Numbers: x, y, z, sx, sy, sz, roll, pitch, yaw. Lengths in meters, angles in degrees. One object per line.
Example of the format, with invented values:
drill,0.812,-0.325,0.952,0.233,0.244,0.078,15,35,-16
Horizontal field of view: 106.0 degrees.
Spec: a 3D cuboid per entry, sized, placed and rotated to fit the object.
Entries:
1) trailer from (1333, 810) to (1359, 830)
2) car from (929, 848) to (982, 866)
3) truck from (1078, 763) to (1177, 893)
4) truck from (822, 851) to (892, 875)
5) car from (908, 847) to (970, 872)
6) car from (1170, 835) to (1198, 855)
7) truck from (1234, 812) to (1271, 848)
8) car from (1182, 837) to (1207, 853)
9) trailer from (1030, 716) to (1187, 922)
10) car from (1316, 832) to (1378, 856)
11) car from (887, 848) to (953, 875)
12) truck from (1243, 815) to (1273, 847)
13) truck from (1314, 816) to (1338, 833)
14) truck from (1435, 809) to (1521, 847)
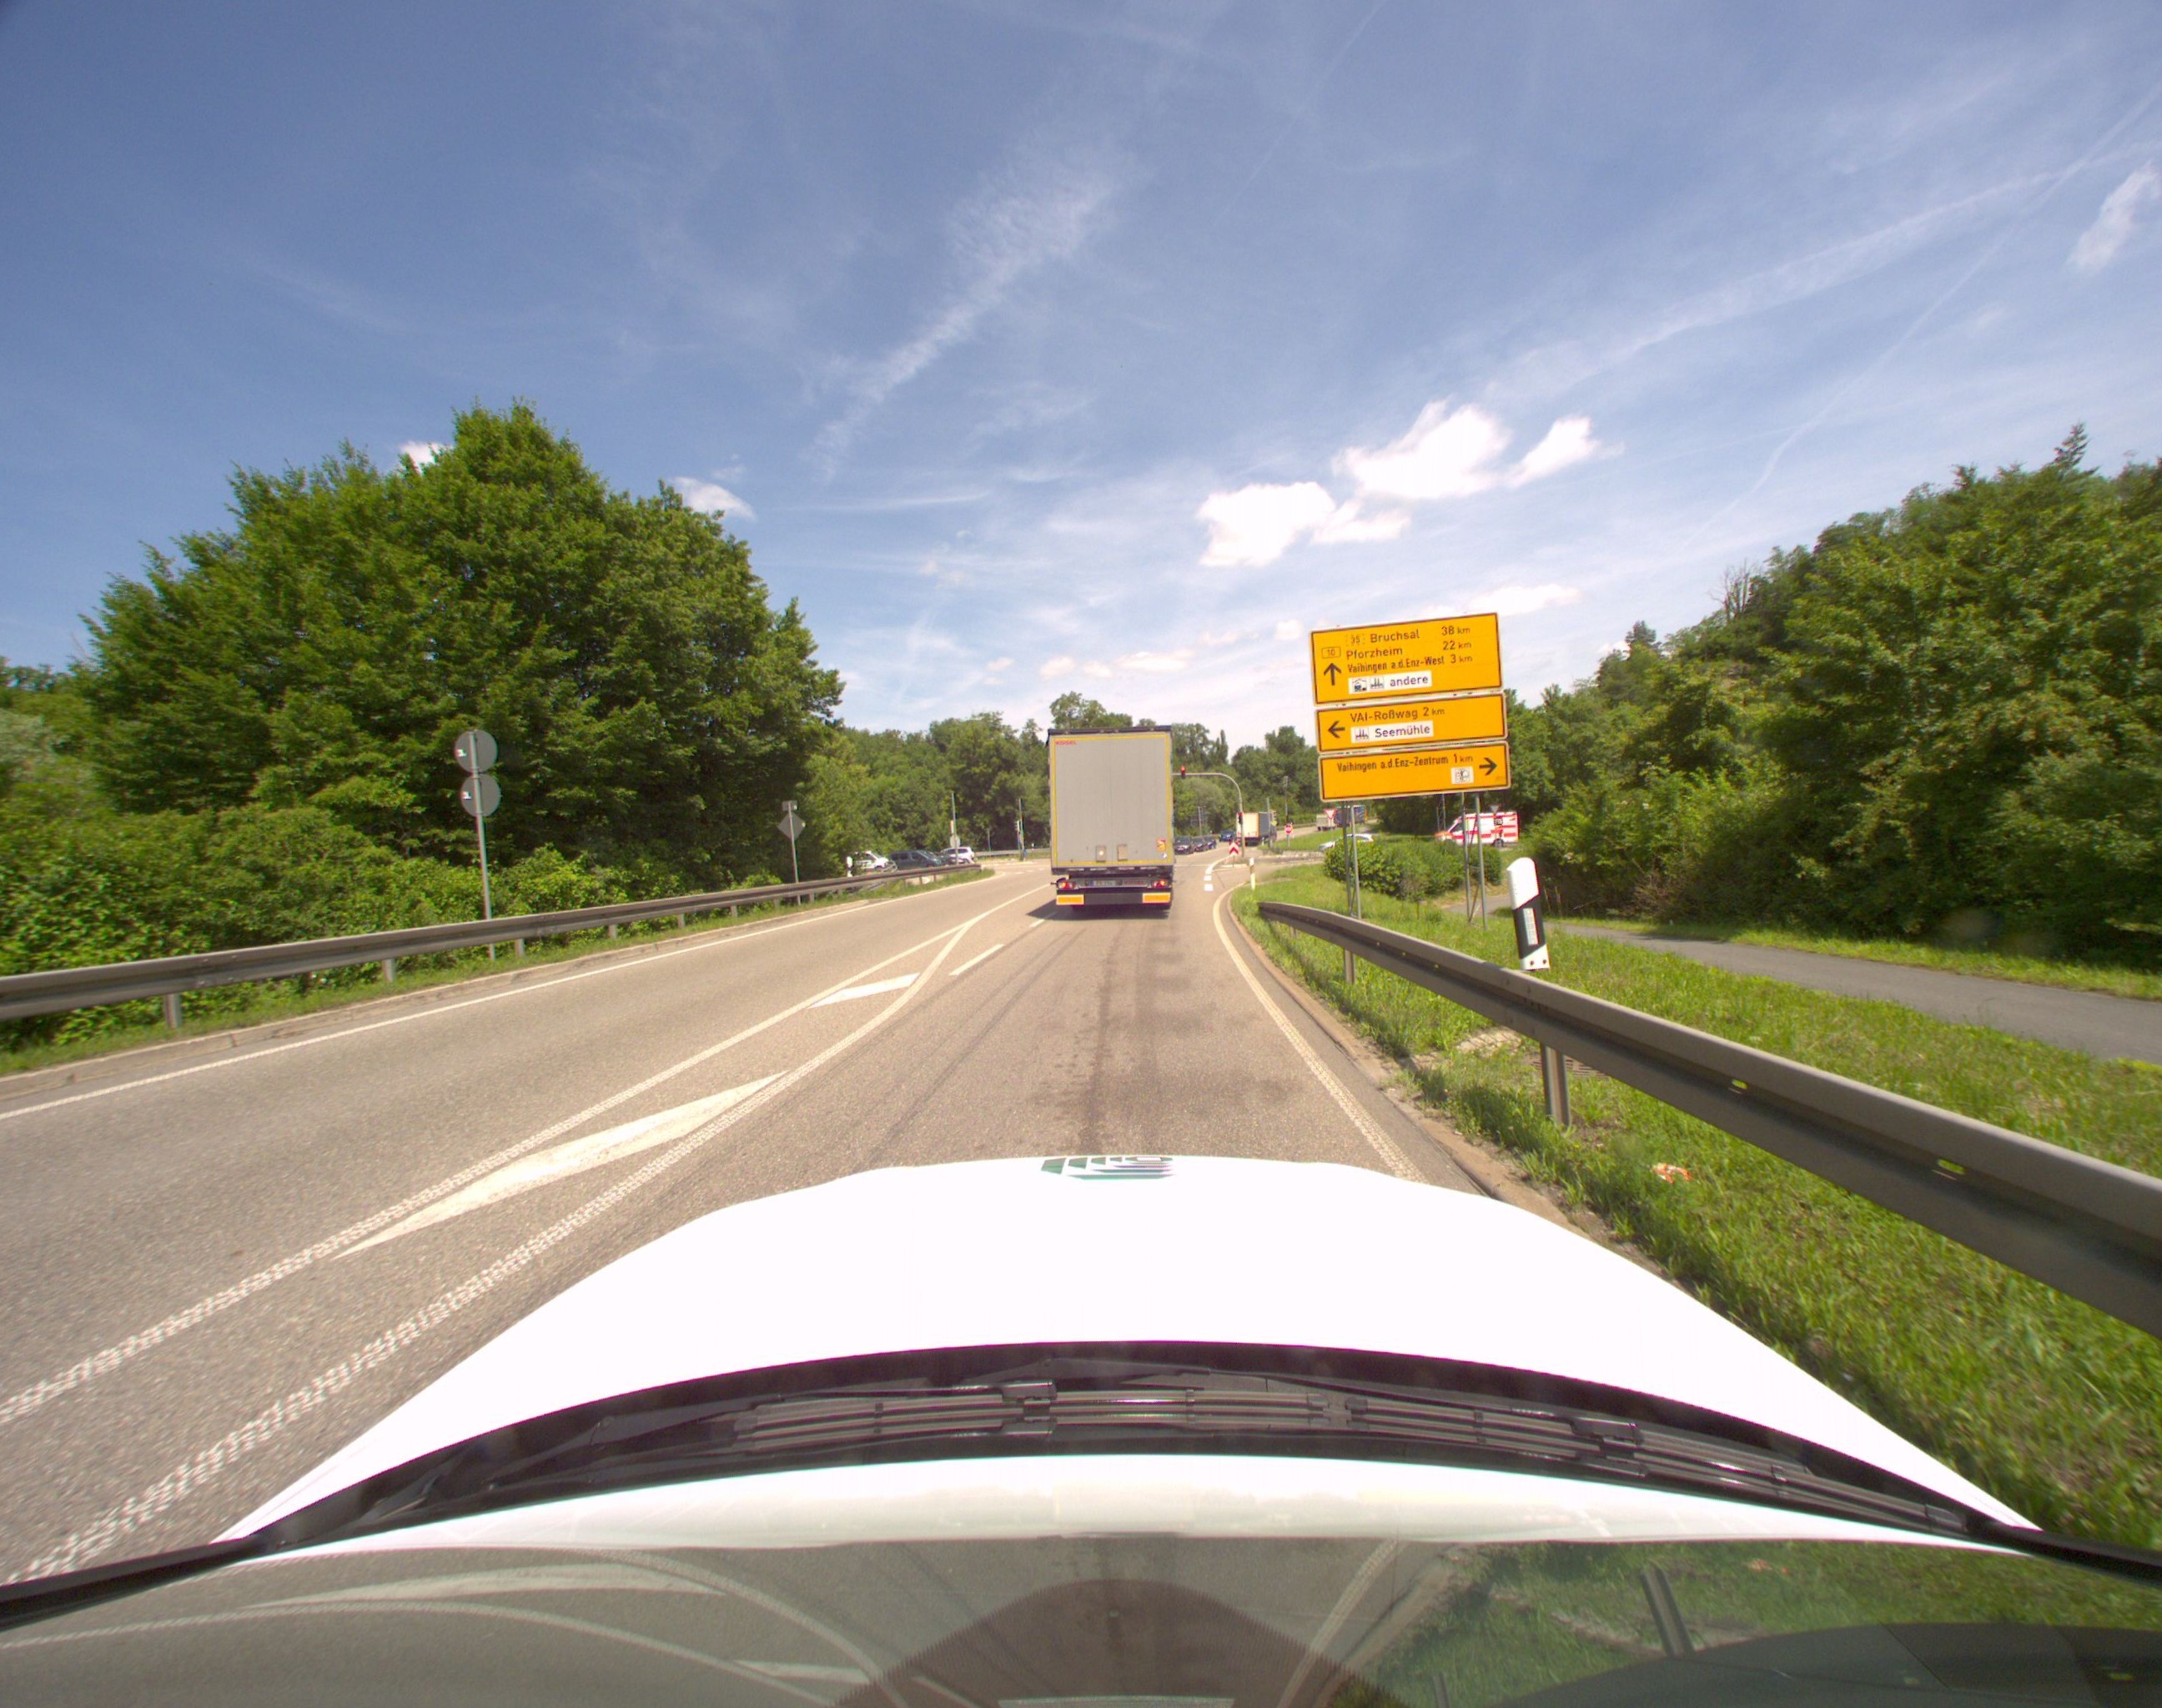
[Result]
trailer,52.980,-6.789,162.823,3.220,3.685,9.308,-1,1,29
car,-10.601,0.267,69.065,3.961,1.519,2.006,-1,-1,11
truck,1.798,-0.873,29.210,3.023,4.033,6.640,-2,1,5
truck,-17.253,0.718,62.823,4.868,1.791,2.039,0,-1,-6
car,-10.979,0.414,63.059,4.201,1.770,2.009,-2,0,16
car,9.687,-0.808,76.388,1.979,1.785,4.961,-1,-1,14
truck,21.176,-2.868,100.035,3.153,4.028,11.801,-1,1,18
car,11.651,-0.902,83.230,1.979,1.491,4.275,-1,-1,15
trailer,1.139,-0.776,22.593,3.037,4.033,12.579,-2,1,5
car,20.557,-0.757,63.087,4.398,1.718,2.006,-1,-1,12
car,-11.651,0.523,58.969,4.201,1.770,2.009,-2,0,16
truck,23.021,-2.984,105.629,3.143,4.004,5.842,-1,1,18
truck,44.686,-5.325,148.361,2.828,2.947,7.149,-1,1,29
truck,31.221,-2.003,64.194,5.955,2.728,2.516,-1,-1,27
